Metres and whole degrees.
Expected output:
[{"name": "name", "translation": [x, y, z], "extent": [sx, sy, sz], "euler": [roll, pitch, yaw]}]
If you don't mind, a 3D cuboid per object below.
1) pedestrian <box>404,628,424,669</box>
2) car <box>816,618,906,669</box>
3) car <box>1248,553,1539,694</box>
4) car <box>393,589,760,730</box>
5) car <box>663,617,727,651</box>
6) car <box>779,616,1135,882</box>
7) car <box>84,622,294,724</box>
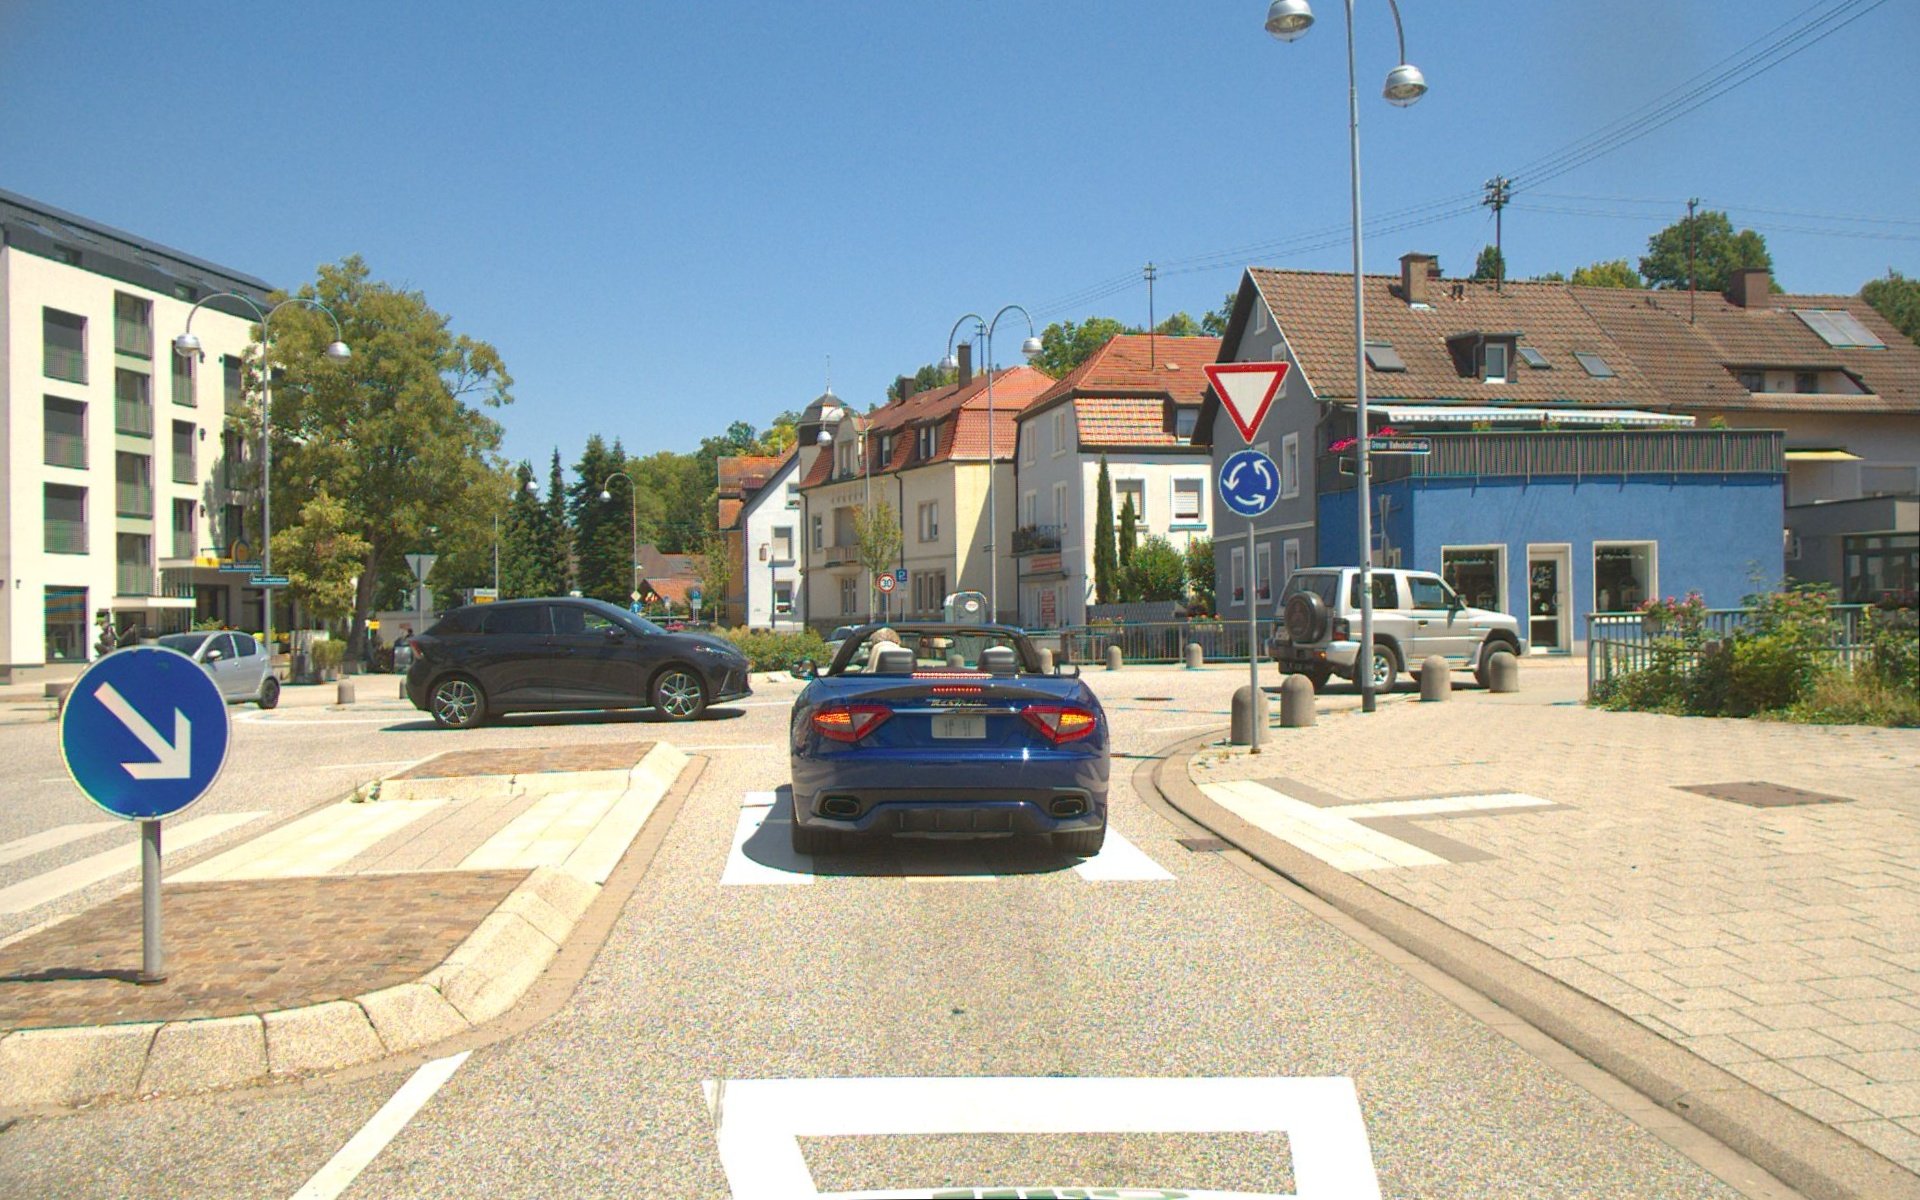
[{"name": "pedestrian", "translation": [-22.210, 1.973, 67.286], "extent": [0.523, 1.603, 0.563], "euler": [-2, -1, 9]}, {"name": "car", "translation": [-3.446, 1.522, 57.001], "extent": [1.891, 1.641, 4.120], "euler": [-2, -2, -21]}, {"name": "car", "translation": [6.568, 0.288, 24.974], "extent": [4.167, 1.907, 1.748], "euler": [-2, 2, -27]}, {"name": "car", "translation": [-4.693, 0.716, 20.688], "extent": [4.163, 1.574, 1.810], "euler": [-1, -1, -2]}, {"name": "car", "translation": [-13.462, 1.740, 83.886], "extent": [1.832, 1.616, 3.956], "euler": [-2, -1, -32]}, {"name": "car", "translation": [-0.033, 0.811, 10.862], "extent": [1.871, 1.384, 4.284], "euler": [0, -1, -1]}, {"name": "car", "translation": [-13.434, 1.233, 29.024], "extent": [1.541, 1.475, 3.474], "euler": [-3, 0, 11]}]
